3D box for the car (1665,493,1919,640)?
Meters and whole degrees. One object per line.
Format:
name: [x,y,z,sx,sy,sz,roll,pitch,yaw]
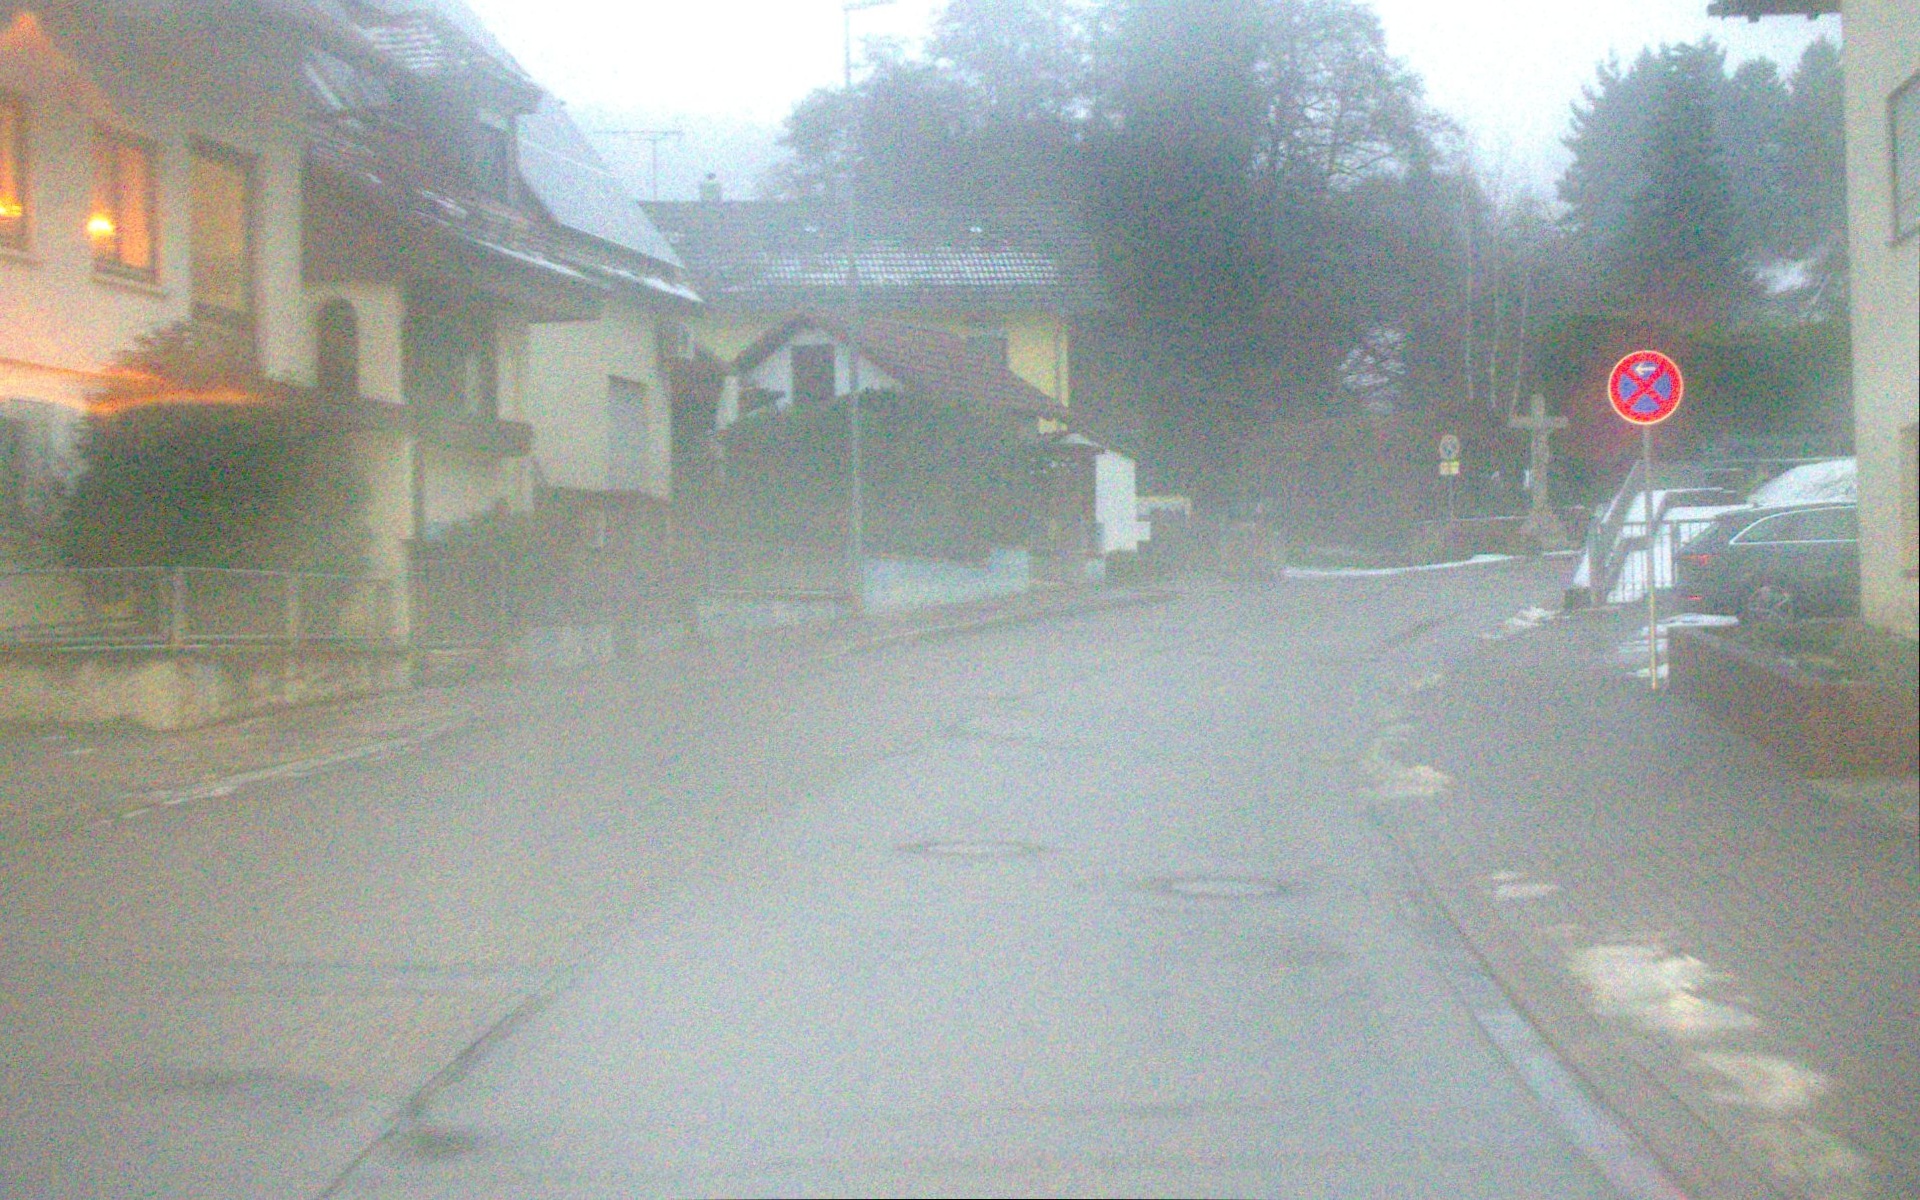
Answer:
car: [10.038,-0.420,37.494,4.506,1.438,1.999,-3,1,11]
